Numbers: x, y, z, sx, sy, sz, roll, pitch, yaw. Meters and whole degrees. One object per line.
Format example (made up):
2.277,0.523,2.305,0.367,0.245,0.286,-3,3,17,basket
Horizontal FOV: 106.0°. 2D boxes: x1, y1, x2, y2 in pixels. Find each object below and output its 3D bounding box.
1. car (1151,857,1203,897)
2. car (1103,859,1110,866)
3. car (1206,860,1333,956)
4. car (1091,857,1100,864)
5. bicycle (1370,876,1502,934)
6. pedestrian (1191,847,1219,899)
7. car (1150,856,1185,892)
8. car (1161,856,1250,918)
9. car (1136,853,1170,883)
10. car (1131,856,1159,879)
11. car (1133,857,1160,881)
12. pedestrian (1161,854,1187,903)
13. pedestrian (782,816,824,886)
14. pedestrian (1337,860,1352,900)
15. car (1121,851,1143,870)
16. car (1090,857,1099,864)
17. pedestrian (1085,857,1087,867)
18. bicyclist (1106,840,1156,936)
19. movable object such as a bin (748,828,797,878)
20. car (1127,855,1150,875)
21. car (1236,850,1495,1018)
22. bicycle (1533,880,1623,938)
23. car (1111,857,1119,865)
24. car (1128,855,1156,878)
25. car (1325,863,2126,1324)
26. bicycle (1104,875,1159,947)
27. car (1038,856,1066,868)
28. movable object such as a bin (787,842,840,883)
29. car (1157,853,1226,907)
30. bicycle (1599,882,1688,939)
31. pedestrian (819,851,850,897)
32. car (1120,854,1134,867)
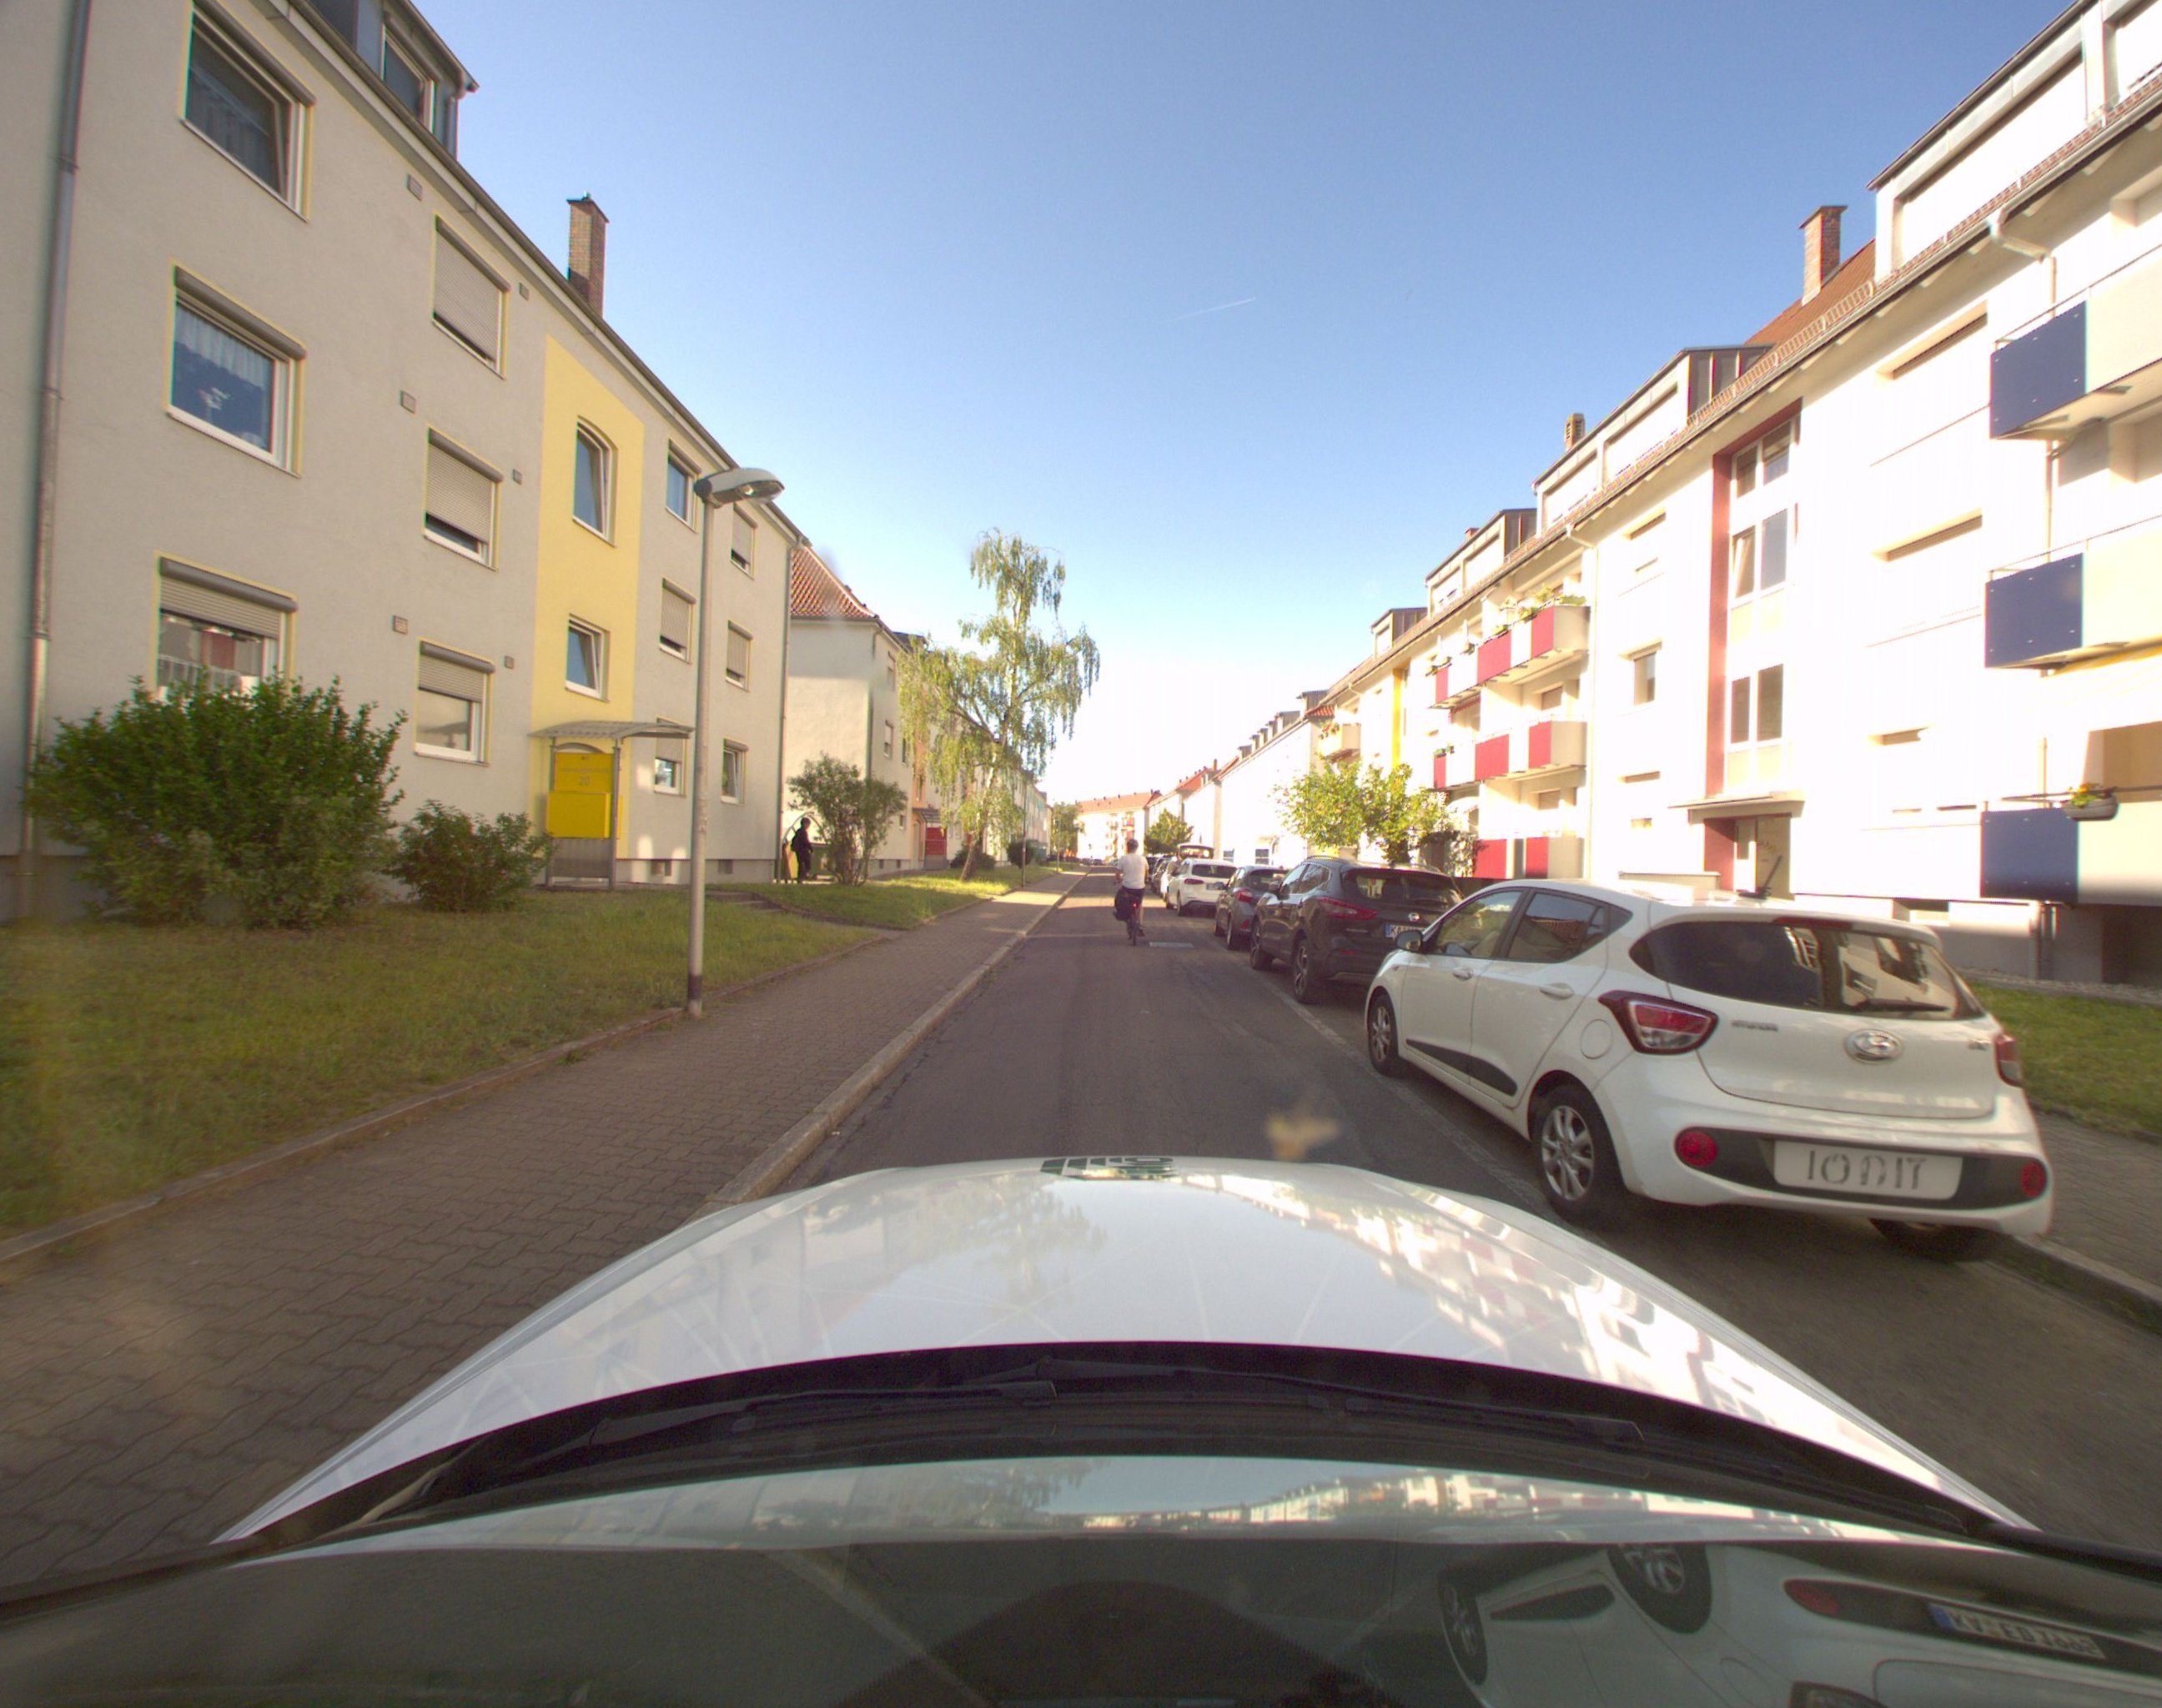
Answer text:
3.954,0.922,34.251,1.688,1.491,3.984,4,0,1,car
5.455,1.814,174.841,1.465,1.516,3.076,1,0,0,car
3.356,0.896,15.229,1.639,1.449,4.065,3,0,4,car
2.627,1.168,150.126,1.465,1.335,3.140,1,0,0,car
7.483,1.056,17.261,2.411,1.130,0.881,1,0,7,bicycle
4.062,0.604,26.741,0.816,1.687,0.604,0,0,1,pedestrian
4.094,0.916,38.726,1.472,1.529,2.945,4,0,6,car
3.392,0.846,23.013,1.766,1.505,4.479,3,0,0,car
4.253,0.813,48.906,1.776,1.648,4.471,3,0,3,car
4.663,0.964,59.607,1.684,1.575,4.435,3,0,1,car
4.327,0.946,54.003,1.635,1.498,4.159,2,0,3,car
3.058,0.781,26.779,0.737,1.575,0.880,1,0,1,pedestrian
-7.425,-0.067,21.747,0.802,1.824,0.718,1,-1,2,pedestrian
10.047,0.990,31.076,0.449,1.495,0.360,1,-2,2,pedestrian
4.891,0.584,78.310,1.855,1.668,4.128,4,0,2,car
2.413,1.157,145.132,1.465,1.335,3.140,1,0,0,car
0.873,1.386,141.951,0.432,1.574,0.543,1,-1,1,pedestrian
0.874,0.586,14.406,0.806,1.643,0.898,1,-1,-1,bicyclist
-9.152,-0.022,24.194,1.080,1.406,0.813,2,0,2,movable object such as a bin
4.986,0.953,70.866,1.706,1.595,4.399,4,0,1,car
3.142,0.778,9.990,1.717,1.578,4.353,1,0,1,car
10.171,1.100,16.780,0.518,1.049,2.289,-1,0,2,bicycle
6.784,1.458,161.903,1.377,1.497,3.076,1,0,0,car
4.880,0.984,65.658,1.745,1.617,4.451,4,0,0,car
2.918,0.887,4.876,1.707,1.509,3.854,5,0,1,car
0.865,0.969,14.498,0.806,1.128,2.101,1,0,-1,bicycle
-4.544,1.243,127.126,4.221,1.638,1.581,2,0,-3,car
-9.498,0.286,28.998,1.383,1.336,1.228,3,0,1,movable object such as a bin
3.793,0.840,28.790,1.985,1.613,5.000,3,0,4,car
11.426,1.115,16.631,0.518,1.037,1.976,0,0,2,bicycle
-7.185,0.579,23.767,0.683,1.317,0.576,1,-1,2,pedestrian
6.330,0.917,112.984,1.669,1.739,3.942,3,0,0,car
